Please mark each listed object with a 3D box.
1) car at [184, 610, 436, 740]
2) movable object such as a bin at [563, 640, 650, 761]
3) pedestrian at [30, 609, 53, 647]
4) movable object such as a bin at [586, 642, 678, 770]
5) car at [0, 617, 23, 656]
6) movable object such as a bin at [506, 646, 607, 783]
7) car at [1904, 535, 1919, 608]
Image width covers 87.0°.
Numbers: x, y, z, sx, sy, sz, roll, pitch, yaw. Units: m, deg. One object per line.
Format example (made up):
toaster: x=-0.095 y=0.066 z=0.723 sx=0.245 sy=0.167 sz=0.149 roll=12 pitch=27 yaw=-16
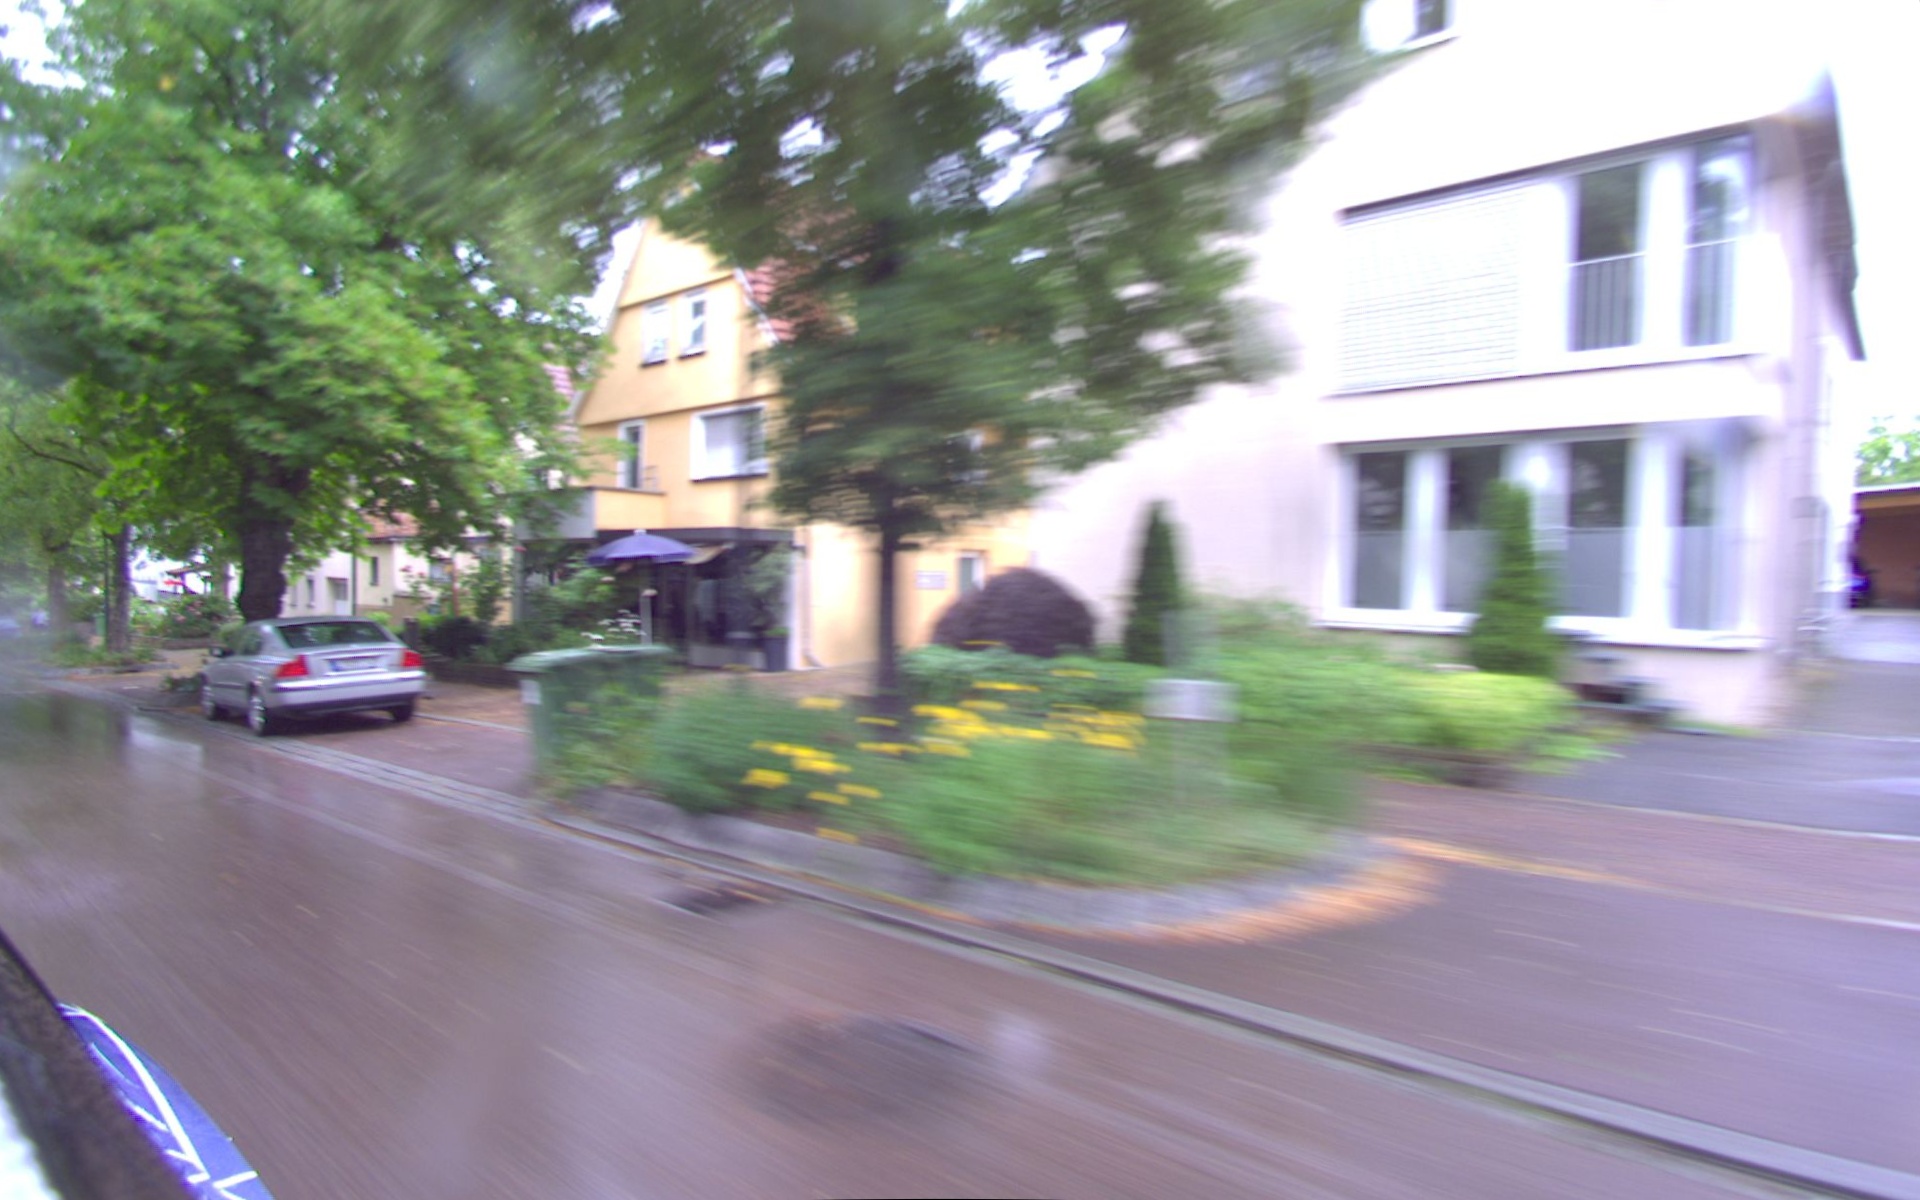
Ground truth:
car: x=-8.921 y=0.904 z=13.718 sx=4.545 sy=1.399 sz=1.753 roll=-1 pitch=1 yaw=43
movable object such as a bin: x=-3.388 y=0.936 z=9.706 sx=0.545 sy=1.070 sz=0.588 roll=-1 pitch=1 yaw=45
pedestrian: x=-39.983 y=1.226 z=44.045 sx=0.932 sy=1.606 sz=0.643 roll=-1 pitch=0 yaw=41
movable object such as a bin: x=-2.995 y=0.946 z=9.253 sx=0.545 sy=1.070 sz=0.588 roll=-1 pitch=1 yaw=45
car: x=-36.612 y=1.356 z=38.015 sx=3.795 sy=1.406 sz=1.731 roll=-1 pitch=0 yaw=42
movable object such as a bin: x=-3.468 y=0.961 z=8.700 sx=0.545 sy=1.070 sz=0.588 roll=-2 pitch=2 yaw=45
car: x=26.344 y=-0.797 z=26.781 sx=3.941 sy=1.871 sz=1.811 roll=-2 pitch=1 yaw=-45
